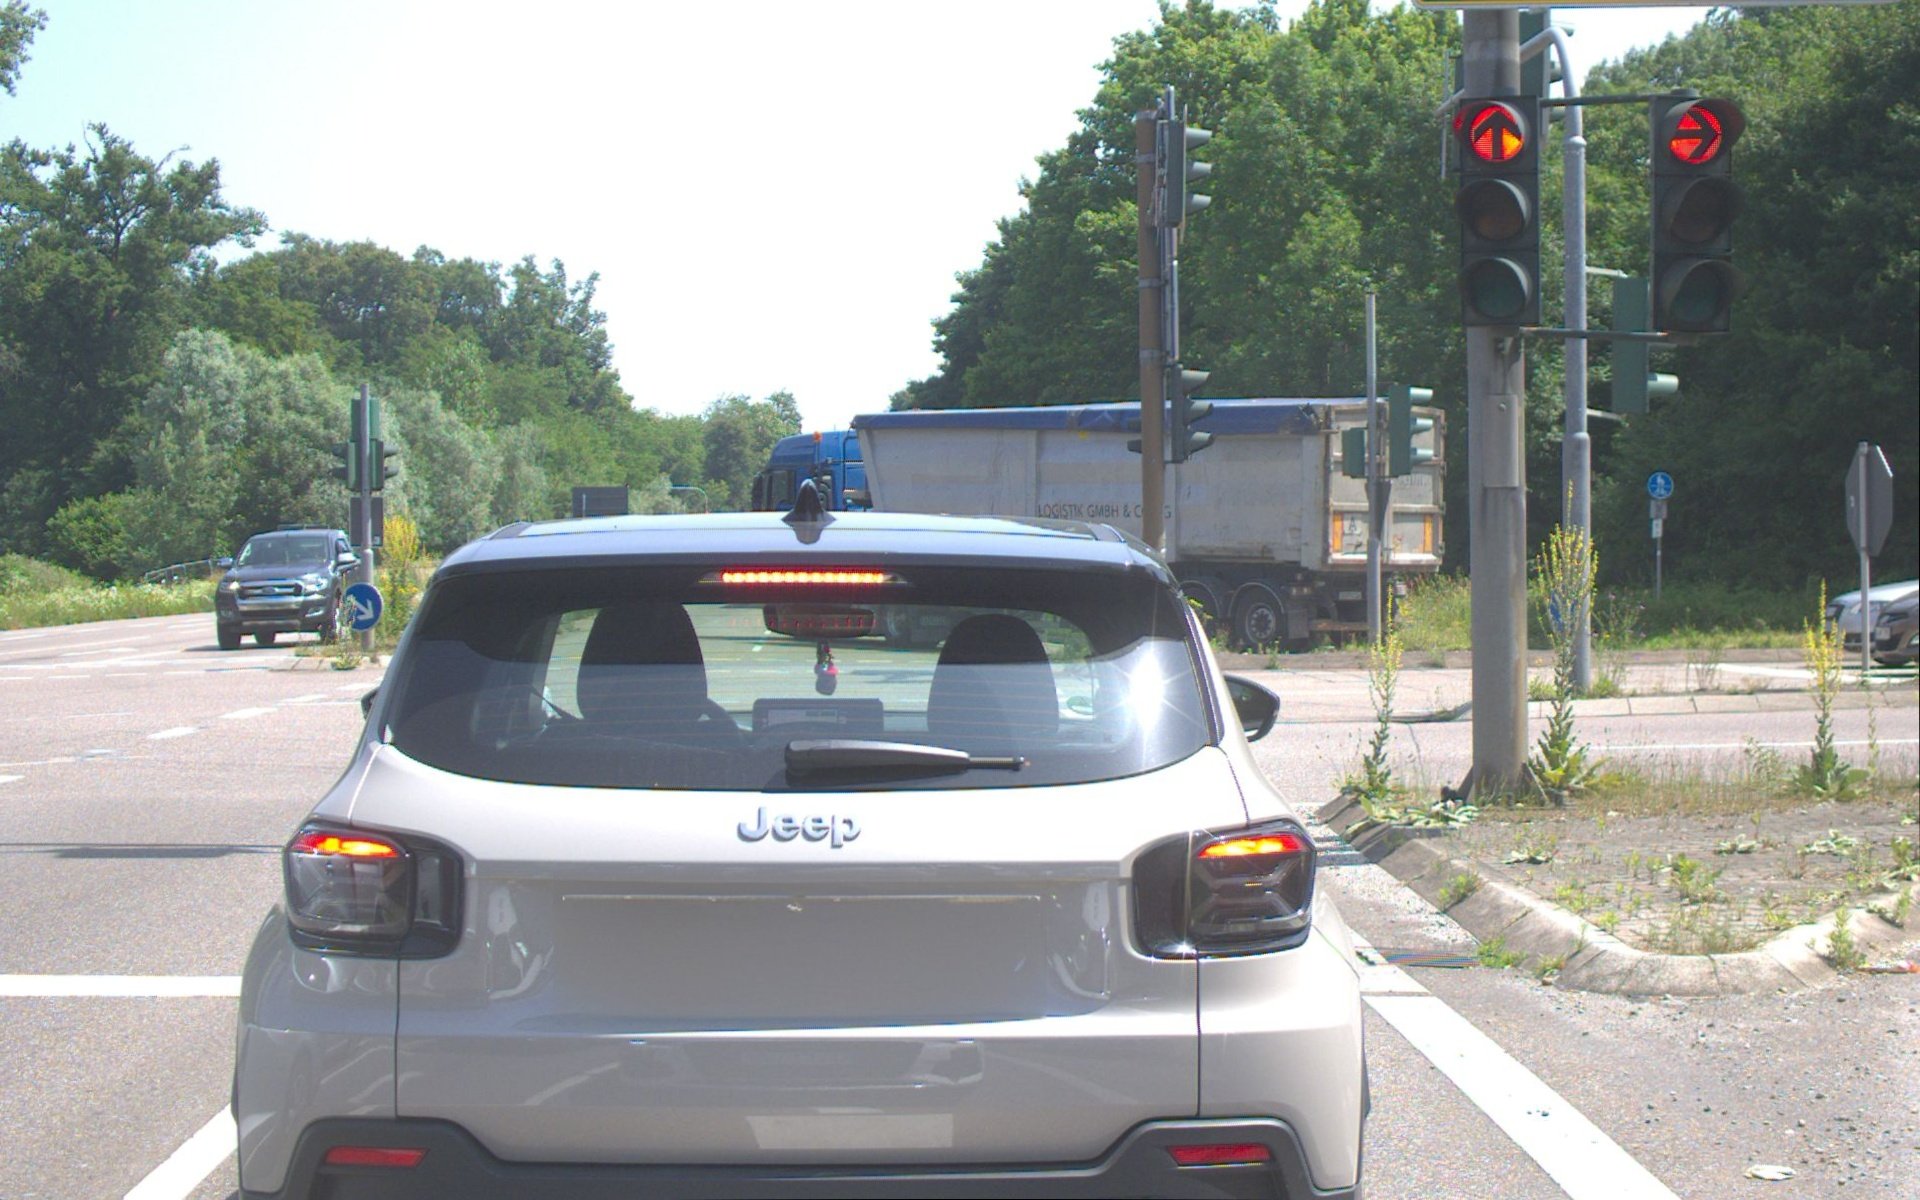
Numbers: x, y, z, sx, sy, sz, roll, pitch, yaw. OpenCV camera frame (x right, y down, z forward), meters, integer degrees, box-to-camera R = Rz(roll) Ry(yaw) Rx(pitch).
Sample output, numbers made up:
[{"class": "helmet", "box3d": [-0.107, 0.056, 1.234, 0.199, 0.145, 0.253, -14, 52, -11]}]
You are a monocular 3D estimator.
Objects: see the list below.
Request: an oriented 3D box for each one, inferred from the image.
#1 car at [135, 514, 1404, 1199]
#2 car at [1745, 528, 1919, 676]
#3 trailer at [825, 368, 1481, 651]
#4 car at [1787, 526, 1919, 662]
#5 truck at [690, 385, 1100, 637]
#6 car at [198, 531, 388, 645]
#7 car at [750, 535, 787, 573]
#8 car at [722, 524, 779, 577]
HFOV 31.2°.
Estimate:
[{"class": "car", "box3d": [-0.289, 0.611, 6.800, 1.767, 1.529, 4.000, 0, 1, -1]}, {"class": "car", "box3d": [10.358, -0.025, 35.232, 4.091, 1.442, 1.996, -1, 1, -3]}, {"class": "trailer", "box3d": [2.728, -1.354, 53.347, 3.384, 3.975, 10.798, 0, 1, -43]}, {"class": "car", "box3d": [12.063, -0.094, 38.848, 4.932, 1.493, 2.020, -1, 0, 0]}, {"class": "truck", "box3d": [-1.170, -1.451, 57.672, 3.334, 3.975, 6.530, 0, 1, -43]}, {"class": "car", "box3d": [-10.560, -0.230, 54.794, 1.993, 1.672, 5.366, -2, 1, -1]}, {"class": "car", "box3d": [-10.243, -2.450, 183.706, 1.774, 2.007, 4.000, 1, 1, -1]}, {"class": "car", "box3d": [-8.264, -1.972, 136.097, 1.993, 2.007, 4.554, -1, 1, 0]}]
